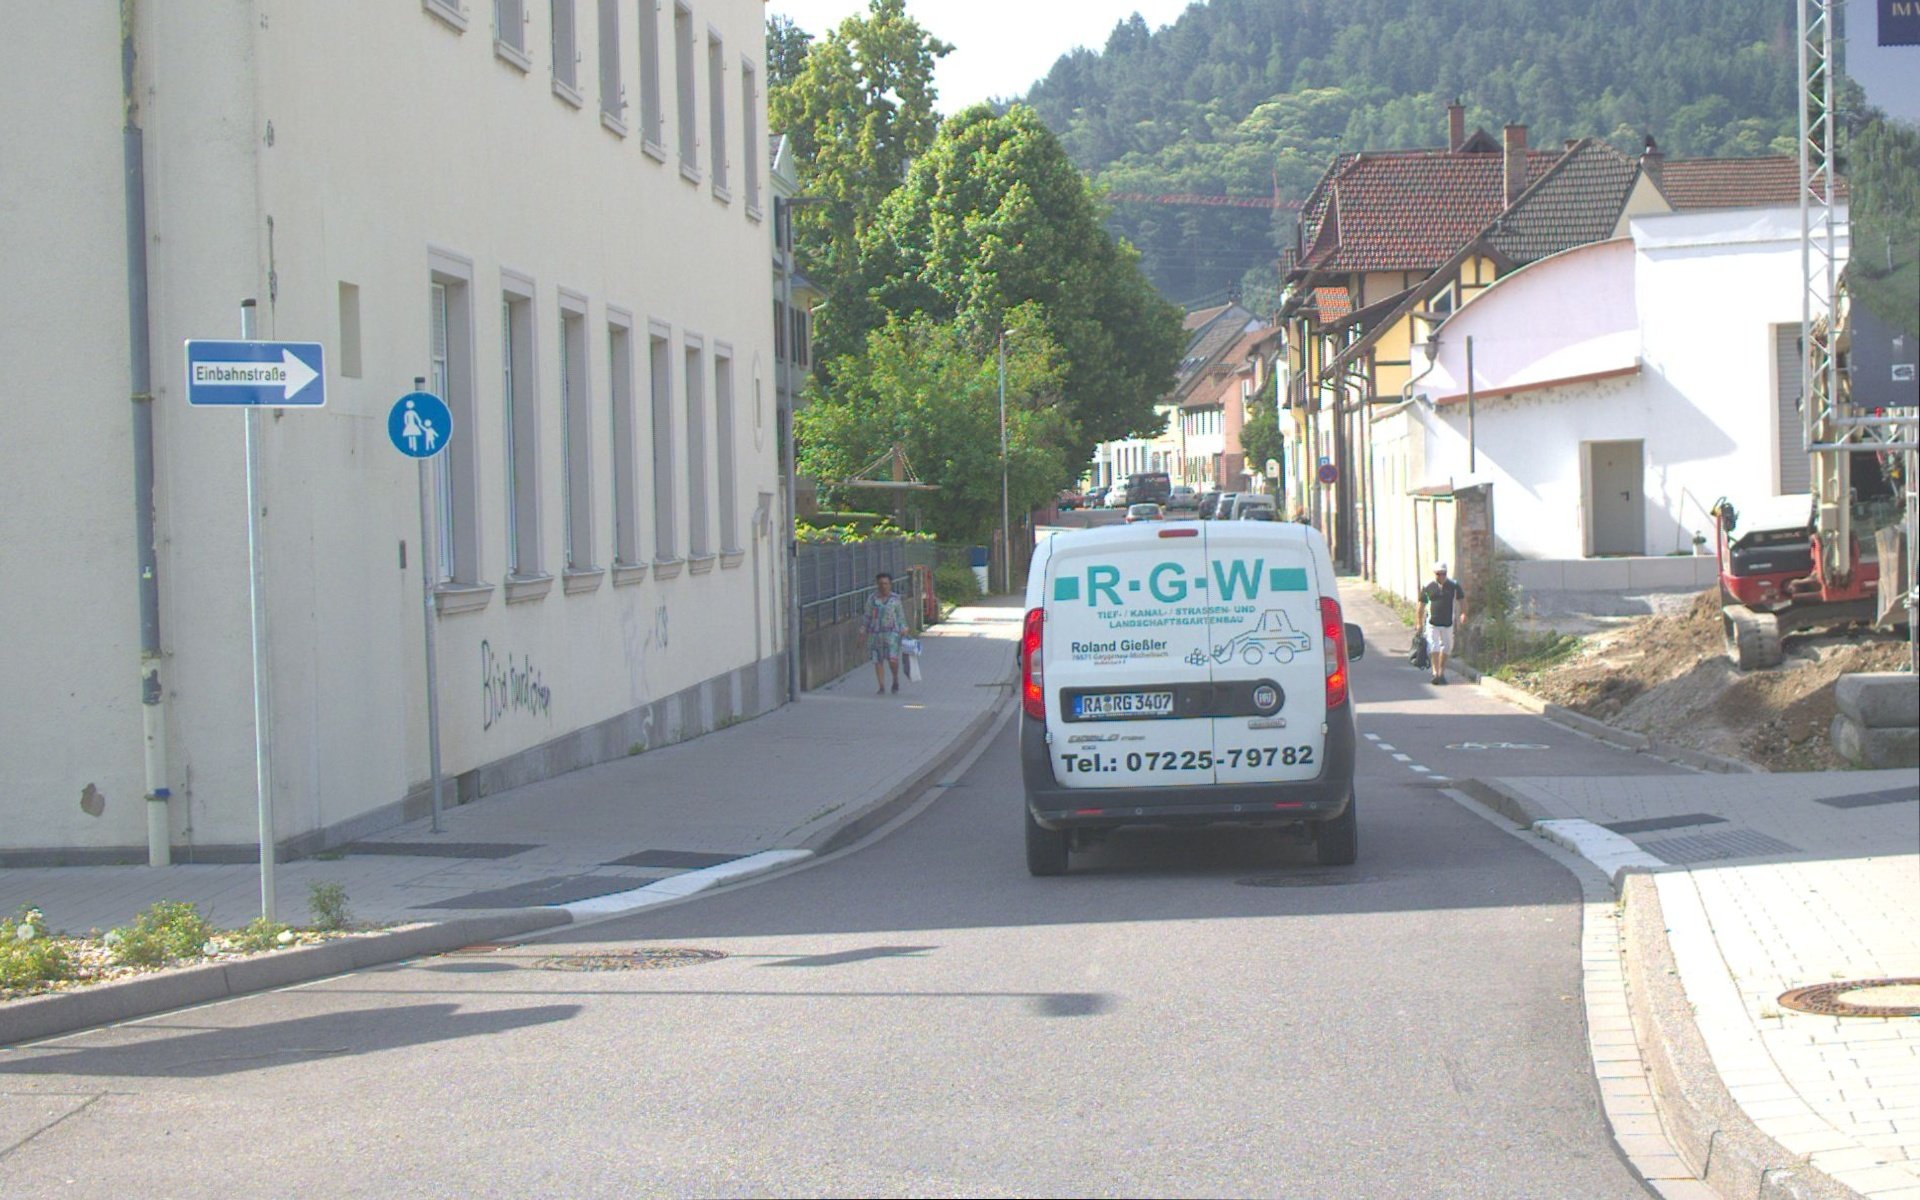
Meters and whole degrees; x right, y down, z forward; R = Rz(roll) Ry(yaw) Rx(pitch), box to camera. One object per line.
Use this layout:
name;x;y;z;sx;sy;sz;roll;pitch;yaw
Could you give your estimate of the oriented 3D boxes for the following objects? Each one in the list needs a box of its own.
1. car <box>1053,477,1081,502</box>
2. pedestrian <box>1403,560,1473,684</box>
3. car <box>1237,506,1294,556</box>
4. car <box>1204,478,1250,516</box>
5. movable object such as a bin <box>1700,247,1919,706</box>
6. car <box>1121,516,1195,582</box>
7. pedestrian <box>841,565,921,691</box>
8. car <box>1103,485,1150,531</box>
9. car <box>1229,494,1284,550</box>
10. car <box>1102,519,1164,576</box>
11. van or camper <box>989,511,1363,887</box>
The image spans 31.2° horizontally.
car;6.992;-7.244;225.007;1.810;1.591;3.927;1;2;1
pedestrian;6.542;0.291;47.100;0.888;1.677;0.718;1;1;4
car;10.322;-2.359;116.334;1.811;1.591;3.927;1;2;4
car;11.120;-4.317;143.280;1.669;1.503;4.000;-2;2;2
movable object such as a bin;8.577;-1.121;32.709;2.296;3.840;7.797;1;1;7
car;5.125;-1.338;89.383;1.810;1.591;3.927;1;2;2
pedestrian;-1.044;0.365;45.776;0.958;1.625;0.758;2;1;4
car;10.825;-6.029;223.797;2.875;2.826;6.124;-2;2;2
car;10.926;-2.901;126.815;1.871;2.006;4.000;0;2;3
car;5.245;-1.615;104.848;1.810;1.591;3.927;1;2;2
van or camper;1.202;0.513;19.552;1.828;1.838;4.188;-2;0;3
